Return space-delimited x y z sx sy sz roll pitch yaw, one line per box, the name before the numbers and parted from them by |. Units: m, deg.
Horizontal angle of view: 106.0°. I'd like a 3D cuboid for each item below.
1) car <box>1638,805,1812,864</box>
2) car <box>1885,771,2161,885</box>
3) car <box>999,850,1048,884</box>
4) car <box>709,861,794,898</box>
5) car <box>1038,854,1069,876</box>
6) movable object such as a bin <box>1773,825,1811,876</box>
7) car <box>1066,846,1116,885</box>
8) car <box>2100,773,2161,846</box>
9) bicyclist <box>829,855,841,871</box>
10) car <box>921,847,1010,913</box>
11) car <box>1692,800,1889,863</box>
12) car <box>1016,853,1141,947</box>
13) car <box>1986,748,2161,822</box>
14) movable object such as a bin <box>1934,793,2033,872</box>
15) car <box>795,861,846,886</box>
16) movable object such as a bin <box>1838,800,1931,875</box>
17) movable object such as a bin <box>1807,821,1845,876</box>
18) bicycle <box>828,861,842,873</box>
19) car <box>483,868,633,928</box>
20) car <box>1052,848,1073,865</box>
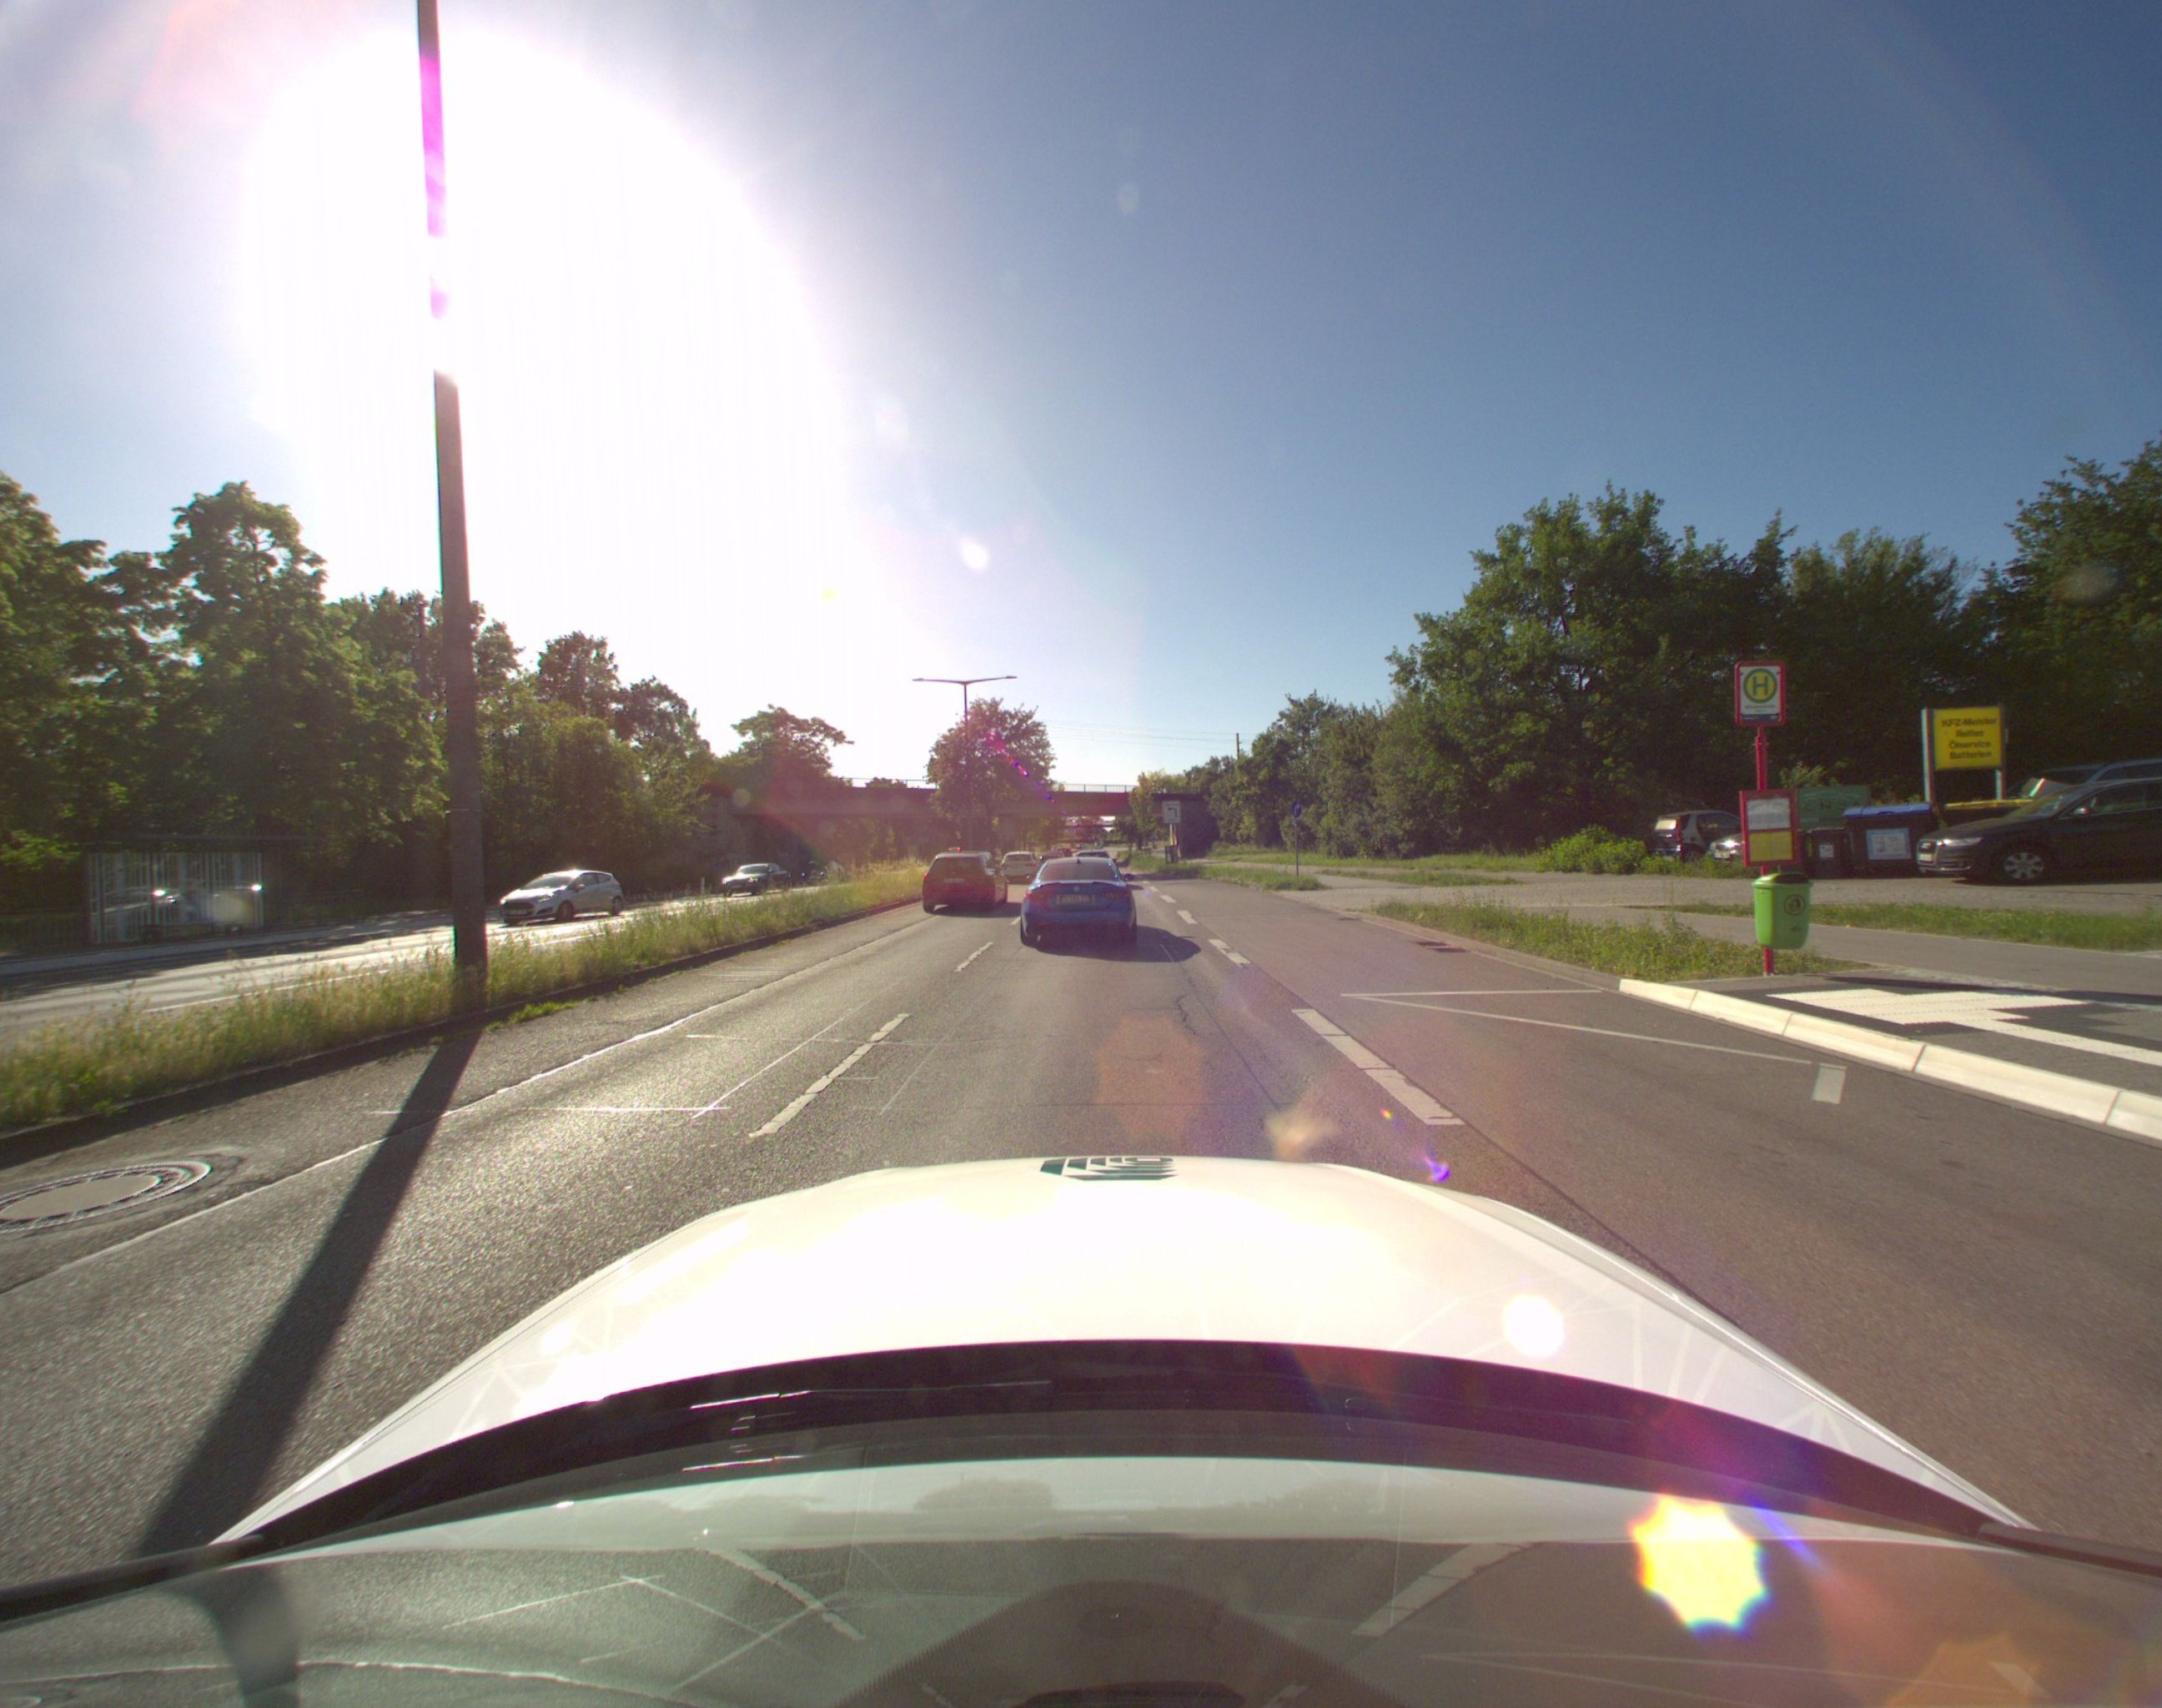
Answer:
car | 17.306 -0.503 22.016 3.270 1.486 1.773 -1 0 2
car | 16.878 -0.471 13.619 4.502 1.640 1.813 -5 0 31
car | -2.654 0.568 38.383 1.876 1.454 4.528 -1 0 1
car | -14.949 1.112 37.202 1.811 1.435 4.632 -4 0 1
car | -1.879 0.752 56.620 1.876 1.454 4.528 -1 0 1
movable object such as a bin | 15.156 -0.079 17.358 0.585 1.074 0.504 -2 1 -40
car | 0.450 0.441 32.997 1.876 1.454 4.528 -1 0 1
car | 22.772 -0.909 15.592 1.717 1.464 3.917 -1 0 2
bicyclist | -21.367 0.759 70.771 0.677 1.402 1.027 -1 0 1
car | -3.007 0.630 22.021 1.702 1.598 4.225 -1 0 1
car | 17.230 -0.530 19.905 3.271 1.417 1.729 -1 0 2
car | 0.015 0.693 14.503 1.876 1.406 4.225 -1 0 1
car | 25.653 -1.749 20.324 4.021 1.531 1.735 -4 0 2
movable object such as a bin | 17.274 -0.396 15.605 0.994 1.428 1.210 -2 0 -41
car | -17.994 1.318 56.504 1.907 1.454 4.491 -4 0 1
movable object such as a bin | 16.109 -0.328 16.340 0.994 1.428 1.245 -2 1 -41
movable object such as a bin | 15.590 -0.124 17.041 0.585 1.121 0.504 -2 0 -40
bicycle | -21.375 1.128 70.698 0.681 1.030 1.715 -1 0 1
car | -15.401 1.228 24.285 1.635 1.451 4.112 -4 0 1
car | -1.703 0.201 77.162 1.773 1.454 4.183 -2 0 1
